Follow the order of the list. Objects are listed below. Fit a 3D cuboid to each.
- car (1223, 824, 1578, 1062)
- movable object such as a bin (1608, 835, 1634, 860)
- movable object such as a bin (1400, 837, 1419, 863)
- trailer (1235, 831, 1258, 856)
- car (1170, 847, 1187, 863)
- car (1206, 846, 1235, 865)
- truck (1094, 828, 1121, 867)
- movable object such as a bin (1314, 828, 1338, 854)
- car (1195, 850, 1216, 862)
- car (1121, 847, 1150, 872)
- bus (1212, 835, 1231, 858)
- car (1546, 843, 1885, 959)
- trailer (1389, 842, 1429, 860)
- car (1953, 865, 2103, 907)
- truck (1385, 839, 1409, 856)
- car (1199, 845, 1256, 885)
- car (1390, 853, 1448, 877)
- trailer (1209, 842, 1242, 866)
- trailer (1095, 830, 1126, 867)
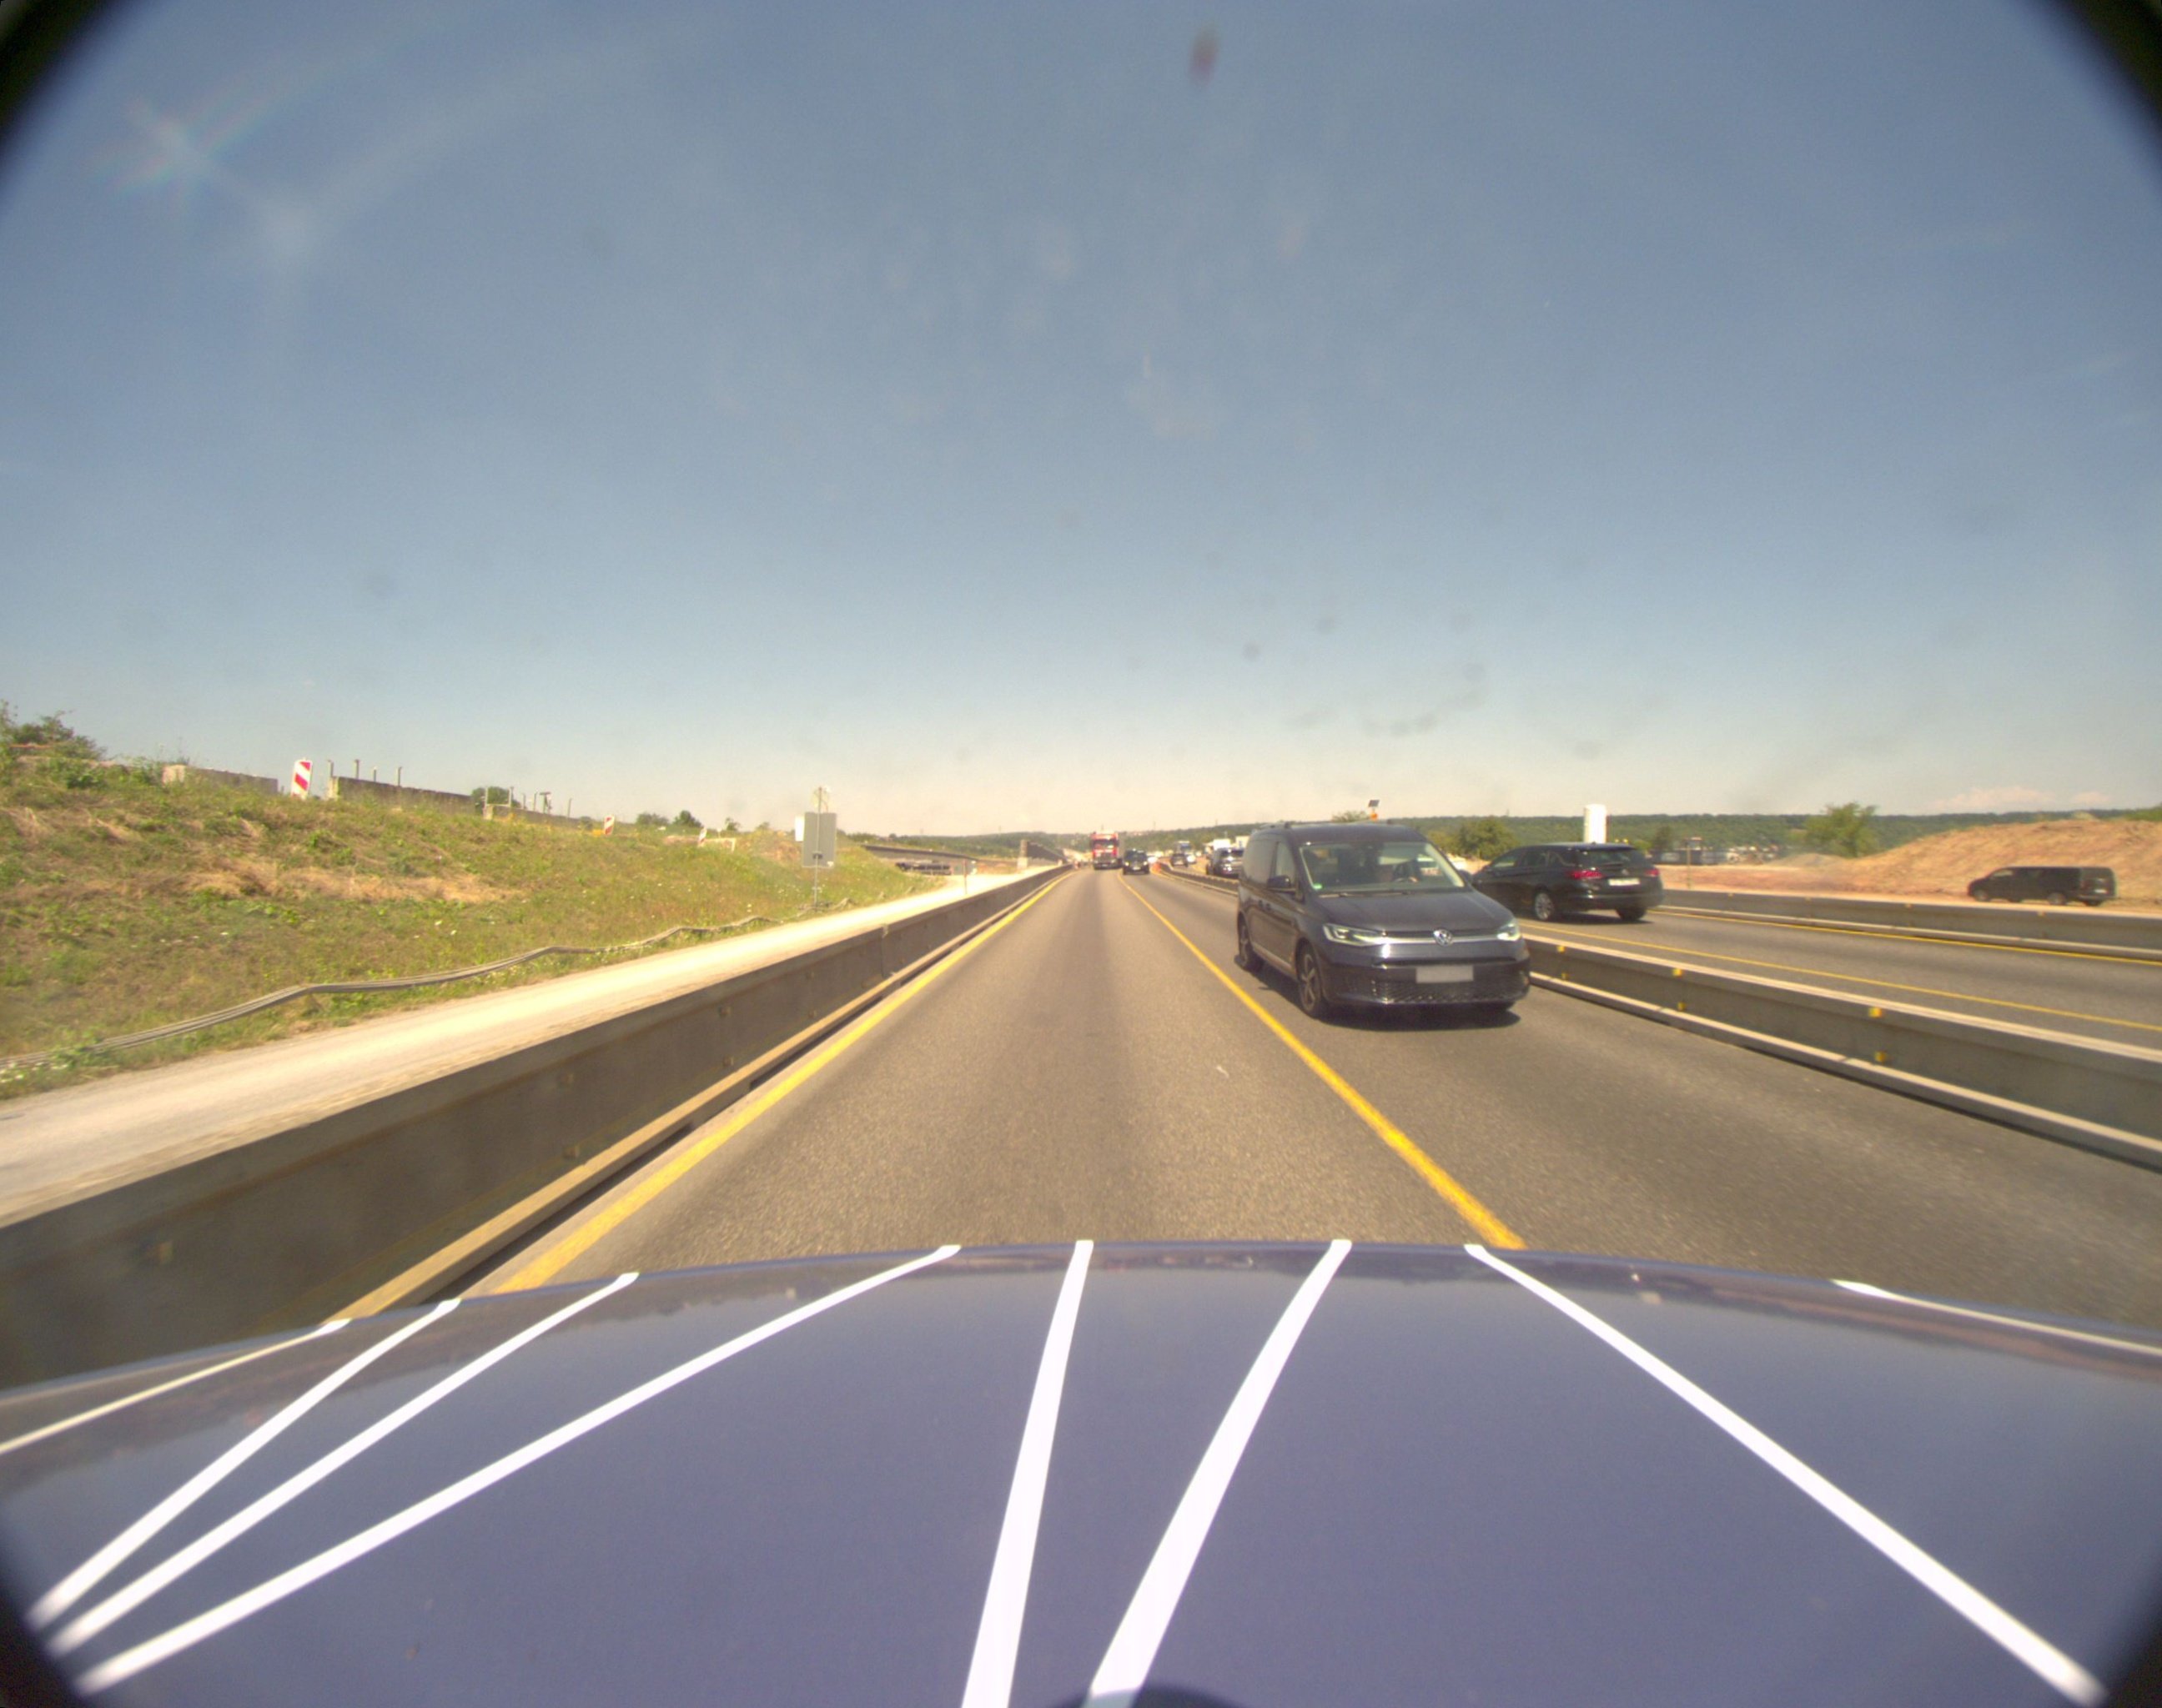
[{"bbox_3d":[2.889,0.675,8.153,1.925,1.779,4.603,-2,0,1],"label":"car"},{"bbox_3d":[70.216,-0.808,98.921,1.995,3.122,4.493,-1,1,25],"label":"movable object such as a bin"},{"bbox_3d":[41.547,-0.494,96.109,1.995,3.122,4.284,-1,1,25],"label":"movable object such as a bin"},{"bbox_3d":[29.548,-1.857,135.291,2.763,4.090,13.994,-1,0,17],"label":"trailer"},{"bbox_3d":[10.129,0.096,78.882,1.697,1.570,4.136,-1,0,8],"label":"car"},{"bbox_3d":[13.042,0.152,71.370,1.928,1.669,4.717,-2,0,2],"label":"car"},{"bbox_3d":[2.819,-0.707,79.173,2.626,3.880,4.934,-1,0,4],"label":"truck"},{"bbox_3d":[43.241,-2.288,134.005,2.926,4.304,9.341,-1,0,24],"label":"movable object such as a bin"},{"bbox_3d":[14.238,0.207,87.266,1.825,1.415,4.648,-1,0,3],"label":"car"},{"bbox_3d":[3.989,0.385,55.881,1.799,1.776,3.999,-1,0,0],"label":"car"},{"bbox_3d":[19.858,-1.031,107.707,2.353,3.107,7.233,-1,0,9],"label":"bus"},{"bbox_3d":[9.529,0.604,11.998,1.729,1.470,4.393,-1,0,1],"label":"car"},{"bbox_3d":[56.135,-0.520,129.959,5.577,2.979,2.883,-1,1,0],"label":"trailer"},{"bbox_3d":[49.253,1.608,39.696,2.000,1.913,4.561,-1,0,-7],"label":"car"},{"bbox_3d":[55.951,-1.166,134.585,2.347,3.026,4.264,-1,0,0],"label":"truck"},{"bbox_3d":[6.822,0.490,35.864,1.776,1.731,5.039,-1,0,1],"label":"car"},{"bbox_3d":[21.782,0.668,48.996,3.204,1.447,1.545,-1,1,-17],"label":"car"},{"bbox_3d":[12.213,0.010,64.395,2.135,1.970,5.236,0,0,4],"label":"trailer"},{"bbox_3d":[3.476,-0.646,85.848,2.700,3.852,12.427,-1,0,6],"label":"trailer"}]
